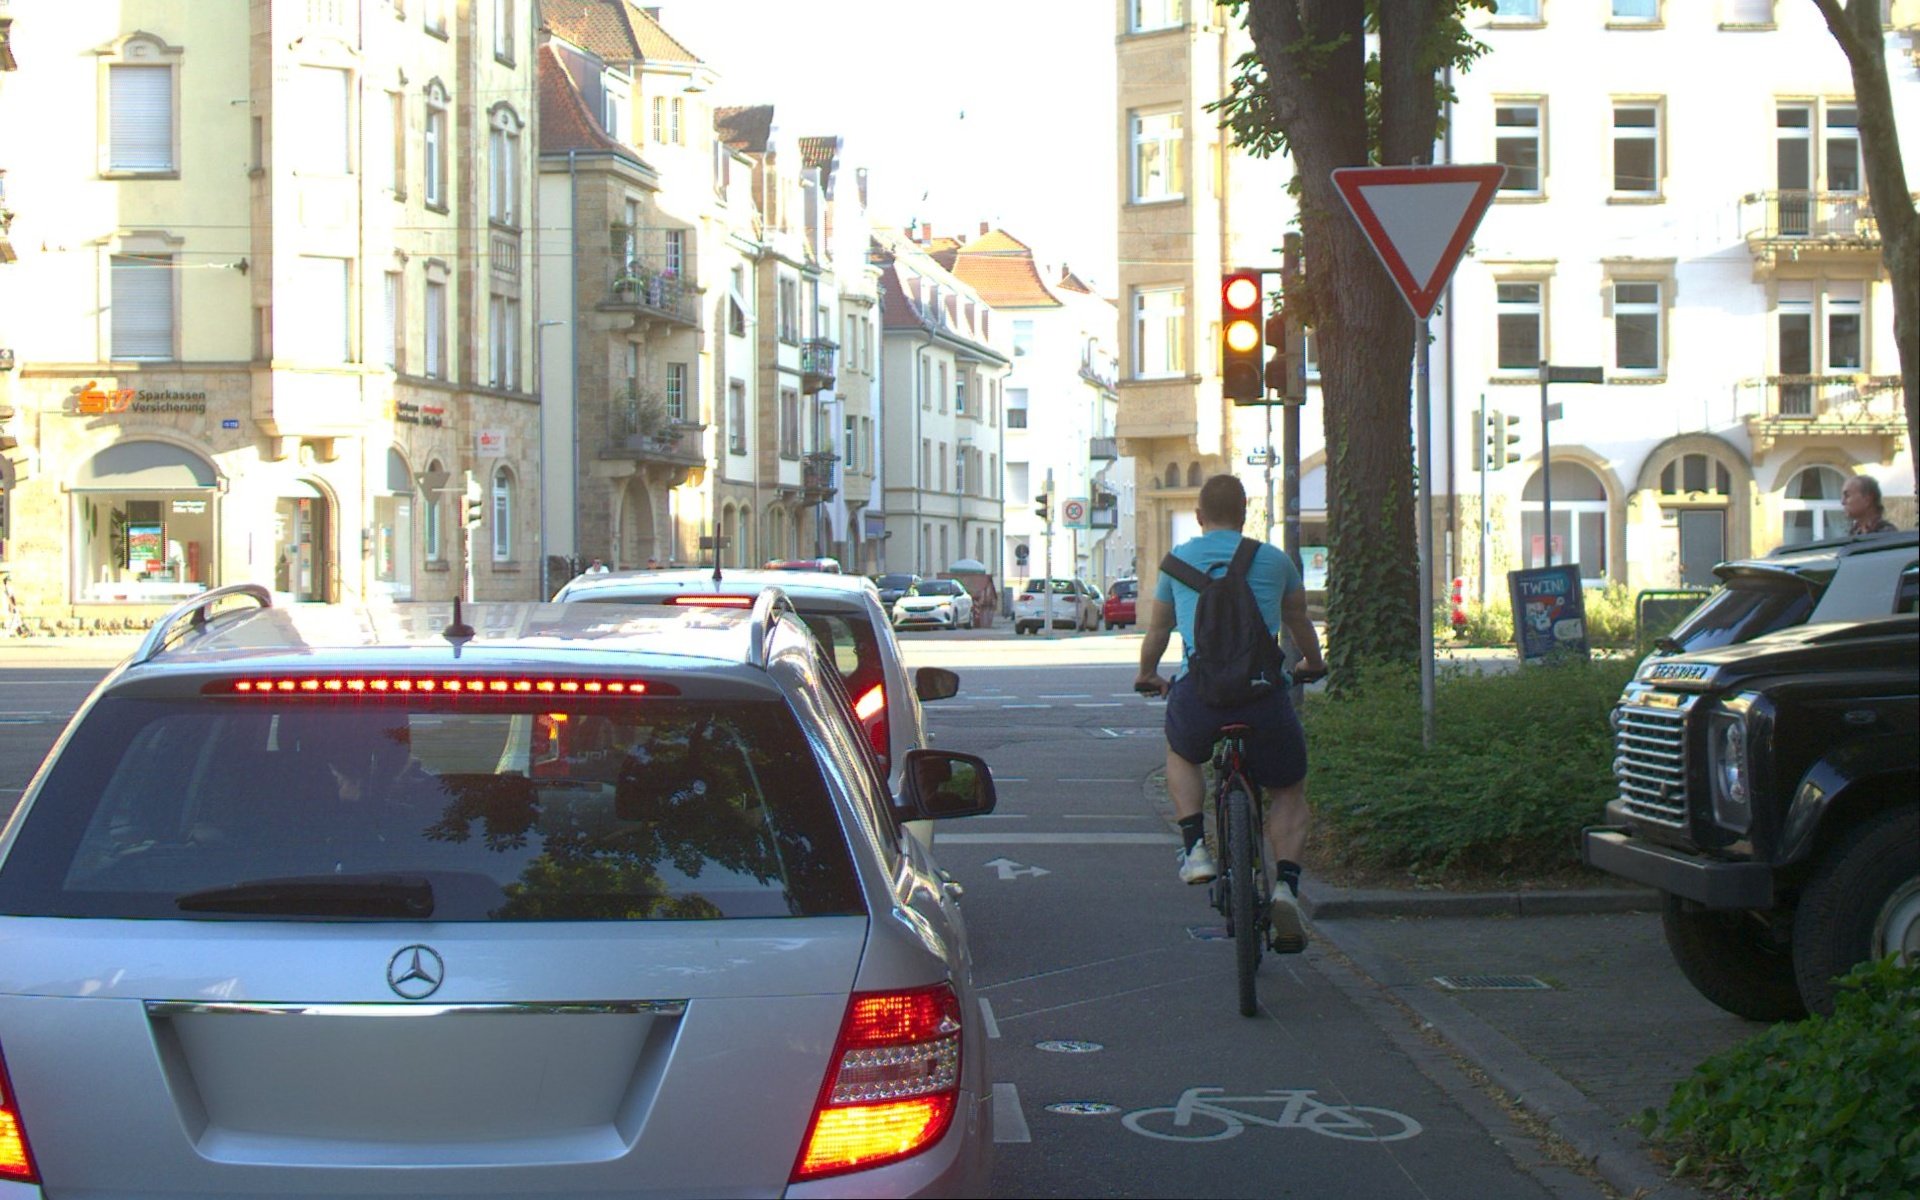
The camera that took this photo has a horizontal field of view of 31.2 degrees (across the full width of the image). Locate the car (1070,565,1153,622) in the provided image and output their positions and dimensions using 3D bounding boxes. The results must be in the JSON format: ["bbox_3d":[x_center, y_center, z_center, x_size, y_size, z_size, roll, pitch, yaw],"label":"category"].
[{"bbox_3d":[4.514,-0.218,102.086,1.722,1.473,3.998,-4,1,12],"label":"car"}]

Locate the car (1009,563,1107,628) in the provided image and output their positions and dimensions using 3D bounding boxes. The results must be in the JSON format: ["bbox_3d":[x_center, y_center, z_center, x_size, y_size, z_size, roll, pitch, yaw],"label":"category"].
[{"bbox_3d":[2.477,-0.138,85.917,1.722,1.473,3.998,-2,1,12],"label":"car"}]

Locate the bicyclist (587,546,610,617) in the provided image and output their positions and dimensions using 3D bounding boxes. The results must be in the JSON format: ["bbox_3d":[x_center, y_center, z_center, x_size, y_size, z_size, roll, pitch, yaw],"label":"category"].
[{"bbox_3d":[-7.717,-0.392,73.372,0.466,1.509,0.655,0,1,-4],"label":"bicyclist"}]

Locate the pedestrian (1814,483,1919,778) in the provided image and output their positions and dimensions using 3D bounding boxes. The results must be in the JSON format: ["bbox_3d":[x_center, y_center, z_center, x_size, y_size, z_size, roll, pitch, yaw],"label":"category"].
[{"bbox_3d":[5.806,0.185,21.751,0.631,1.838,0.575,0,1,-4],"label":"pedestrian"}]

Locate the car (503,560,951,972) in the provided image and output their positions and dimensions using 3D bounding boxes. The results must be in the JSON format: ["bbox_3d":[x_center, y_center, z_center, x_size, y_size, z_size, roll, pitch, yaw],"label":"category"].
[{"bbox_3d":[-0.867,0.554,13.628,1.533,1.386,3.600,0,1,-2],"label":"car"}]

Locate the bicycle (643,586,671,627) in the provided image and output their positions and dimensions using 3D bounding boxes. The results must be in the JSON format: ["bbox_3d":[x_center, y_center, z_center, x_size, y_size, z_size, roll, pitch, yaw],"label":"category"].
[{"bbox_3d":[-6.472,0.131,73.406,0.568,0.832,1.566,0,1,-4],"label":"bicycle"}]

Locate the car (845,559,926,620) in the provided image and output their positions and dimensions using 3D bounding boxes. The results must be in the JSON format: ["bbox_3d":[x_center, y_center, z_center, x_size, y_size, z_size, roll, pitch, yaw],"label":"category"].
[{"bbox_3d":[-2.186,-0.297,102.351,1.651,1.777,3.861,0,0,11],"label":"car"}]

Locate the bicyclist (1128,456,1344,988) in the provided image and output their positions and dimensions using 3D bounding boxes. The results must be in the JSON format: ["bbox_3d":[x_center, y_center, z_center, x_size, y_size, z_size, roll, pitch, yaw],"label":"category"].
[{"bbox_3d":[0.942,0.404,11.904,0.646,1.769,0.831,1,0,-1],"label":"bicyclist"}]

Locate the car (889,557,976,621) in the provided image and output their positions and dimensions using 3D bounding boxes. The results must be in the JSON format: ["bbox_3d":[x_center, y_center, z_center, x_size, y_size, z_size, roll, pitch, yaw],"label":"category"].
[{"bbox_3d":[-0.734,-0.320,95.550,1.687,1.716,3.998,0,1,10],"label":"car"}]

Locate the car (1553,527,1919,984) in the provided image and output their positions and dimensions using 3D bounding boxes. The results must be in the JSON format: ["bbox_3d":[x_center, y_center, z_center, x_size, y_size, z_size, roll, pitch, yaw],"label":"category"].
[{"bbox_3d":[4.216,0.500,13.107,3.480,1.580,1.711,-2,1,-6],"label":"car"}]

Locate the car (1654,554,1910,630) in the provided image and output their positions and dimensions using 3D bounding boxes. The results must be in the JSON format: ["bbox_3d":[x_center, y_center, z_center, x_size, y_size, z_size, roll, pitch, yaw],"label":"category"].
[{"bbox_3d":[11.898,-0.128,49.862,3.364,1.065,1.380,0,1,-1],"label":"car"}]

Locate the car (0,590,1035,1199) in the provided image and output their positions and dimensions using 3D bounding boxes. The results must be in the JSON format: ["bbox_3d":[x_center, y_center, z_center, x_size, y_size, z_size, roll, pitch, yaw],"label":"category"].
[{"bbox_3d":[-0.848,0.730,6.456,1.690,1.424,3.493,1,1,-3],"label":"car"}]

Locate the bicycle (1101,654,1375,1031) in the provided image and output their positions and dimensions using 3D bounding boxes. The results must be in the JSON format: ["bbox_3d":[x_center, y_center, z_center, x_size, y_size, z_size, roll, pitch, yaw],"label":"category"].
[{"bbox_3d":[0.918,0.782,11.857,0.742,1.114,2.013,1,1,-1],"label":"bicycle"}]

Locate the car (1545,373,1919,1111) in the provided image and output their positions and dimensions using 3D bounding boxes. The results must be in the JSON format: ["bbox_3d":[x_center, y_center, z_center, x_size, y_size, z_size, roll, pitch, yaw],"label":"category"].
[{"bbox_3d":[4.187,0.290,10.181,4.490,1.949,1.793,-2,1,-3],"label":"car"}]

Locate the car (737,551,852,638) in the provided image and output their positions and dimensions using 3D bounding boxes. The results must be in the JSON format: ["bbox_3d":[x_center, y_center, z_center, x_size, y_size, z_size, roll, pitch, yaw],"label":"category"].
[{"bbox_3d":[-3.810,-0.148,79.805,1.938,1.952,4.149,0,1,8],"label":"car"}]

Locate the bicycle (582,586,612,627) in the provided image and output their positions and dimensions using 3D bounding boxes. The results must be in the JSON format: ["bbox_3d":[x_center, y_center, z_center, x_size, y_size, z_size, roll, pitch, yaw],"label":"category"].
[{"bbox_3d":[-7.735,0.132,73.346,0.568,0.832,1.566,0,1,-4],"label":"bicycle"}]

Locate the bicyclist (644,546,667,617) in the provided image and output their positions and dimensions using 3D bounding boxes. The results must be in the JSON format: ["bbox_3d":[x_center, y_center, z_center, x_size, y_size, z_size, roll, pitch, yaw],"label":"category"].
[{"bbox_3d":[-6.490,-0.393,73.403,0.466,1.516,0.694,0,1,-4],"label":"bicyclist"}]
